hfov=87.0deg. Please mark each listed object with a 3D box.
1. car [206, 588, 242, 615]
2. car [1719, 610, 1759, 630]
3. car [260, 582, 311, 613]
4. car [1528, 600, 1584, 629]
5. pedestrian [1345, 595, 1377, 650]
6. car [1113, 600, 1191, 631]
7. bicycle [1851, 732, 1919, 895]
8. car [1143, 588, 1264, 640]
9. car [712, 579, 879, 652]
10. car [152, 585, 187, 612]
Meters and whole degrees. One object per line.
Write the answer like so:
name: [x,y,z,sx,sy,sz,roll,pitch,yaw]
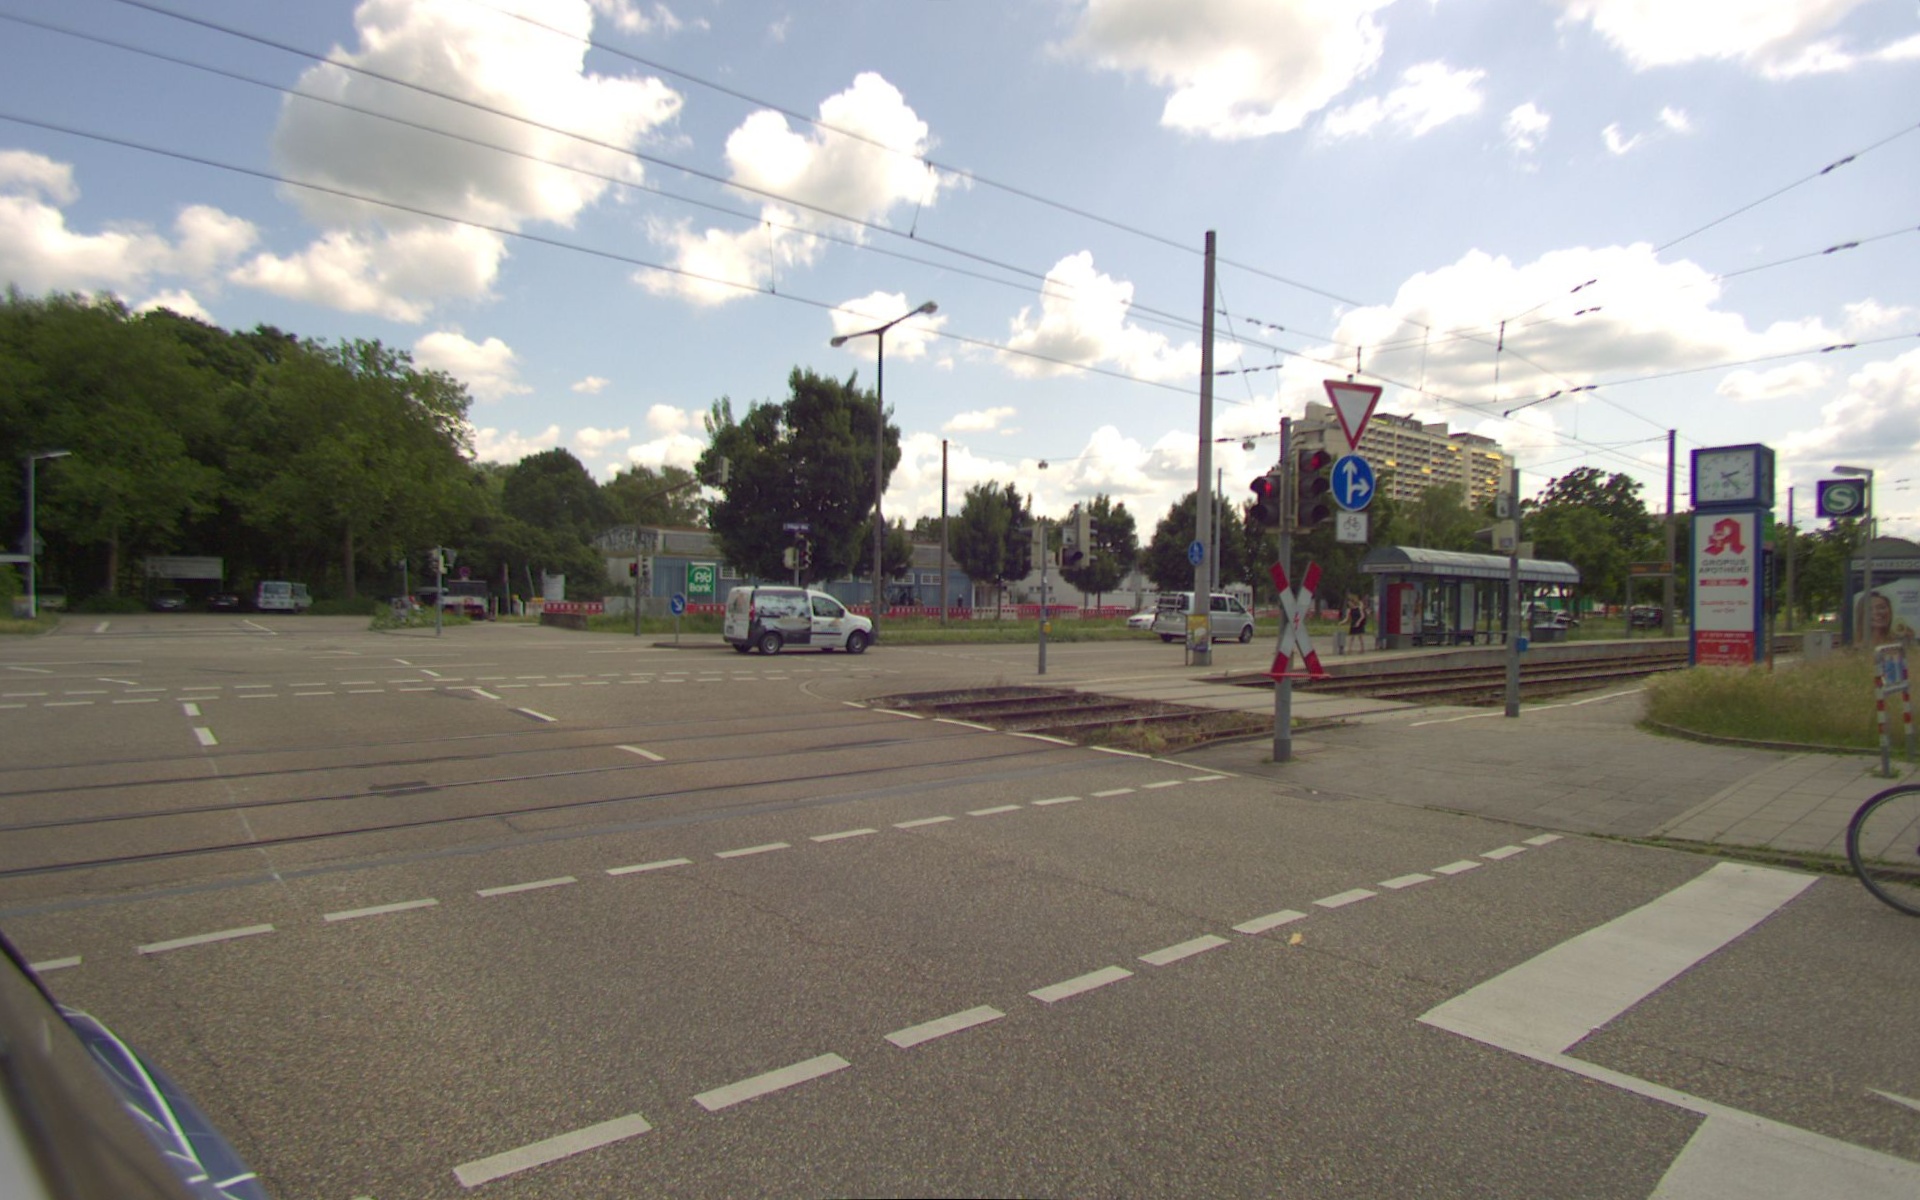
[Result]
car: [-45.075,0.067,61.942,1.593,1.519,3.627,1,1,-38]
car: [65.064,1.649,84.525,4.233,1.537,1.795,1,1,-40]
car: [-42.271,-0.189,63.520,1.904,1.806,3.632,1,1,-22]
car: [36.775,0.894,62.407,4.273,1.680,1.794,1,1,-42]
pedestrian: [11.488,0.637,29.008,0.656,1.525,0.708,0,0,42]
car: [10.487,0.842,55.084,4.107,1.515,2.004,1,1,-40]
bicycle: [5.523,1.151,4.898,0.546,0.771,1.732,1,1,-37]
car: [9.621,0.531,39.773,5.148,1.933,1.823,1,0,-39]
car: [-4.407,0.393,27.354,4.089,1.798,1.752,1,1,-38]
car: [-47.192,-0.113,60.440,1.593,1.519,3.627,1,1,-38]
